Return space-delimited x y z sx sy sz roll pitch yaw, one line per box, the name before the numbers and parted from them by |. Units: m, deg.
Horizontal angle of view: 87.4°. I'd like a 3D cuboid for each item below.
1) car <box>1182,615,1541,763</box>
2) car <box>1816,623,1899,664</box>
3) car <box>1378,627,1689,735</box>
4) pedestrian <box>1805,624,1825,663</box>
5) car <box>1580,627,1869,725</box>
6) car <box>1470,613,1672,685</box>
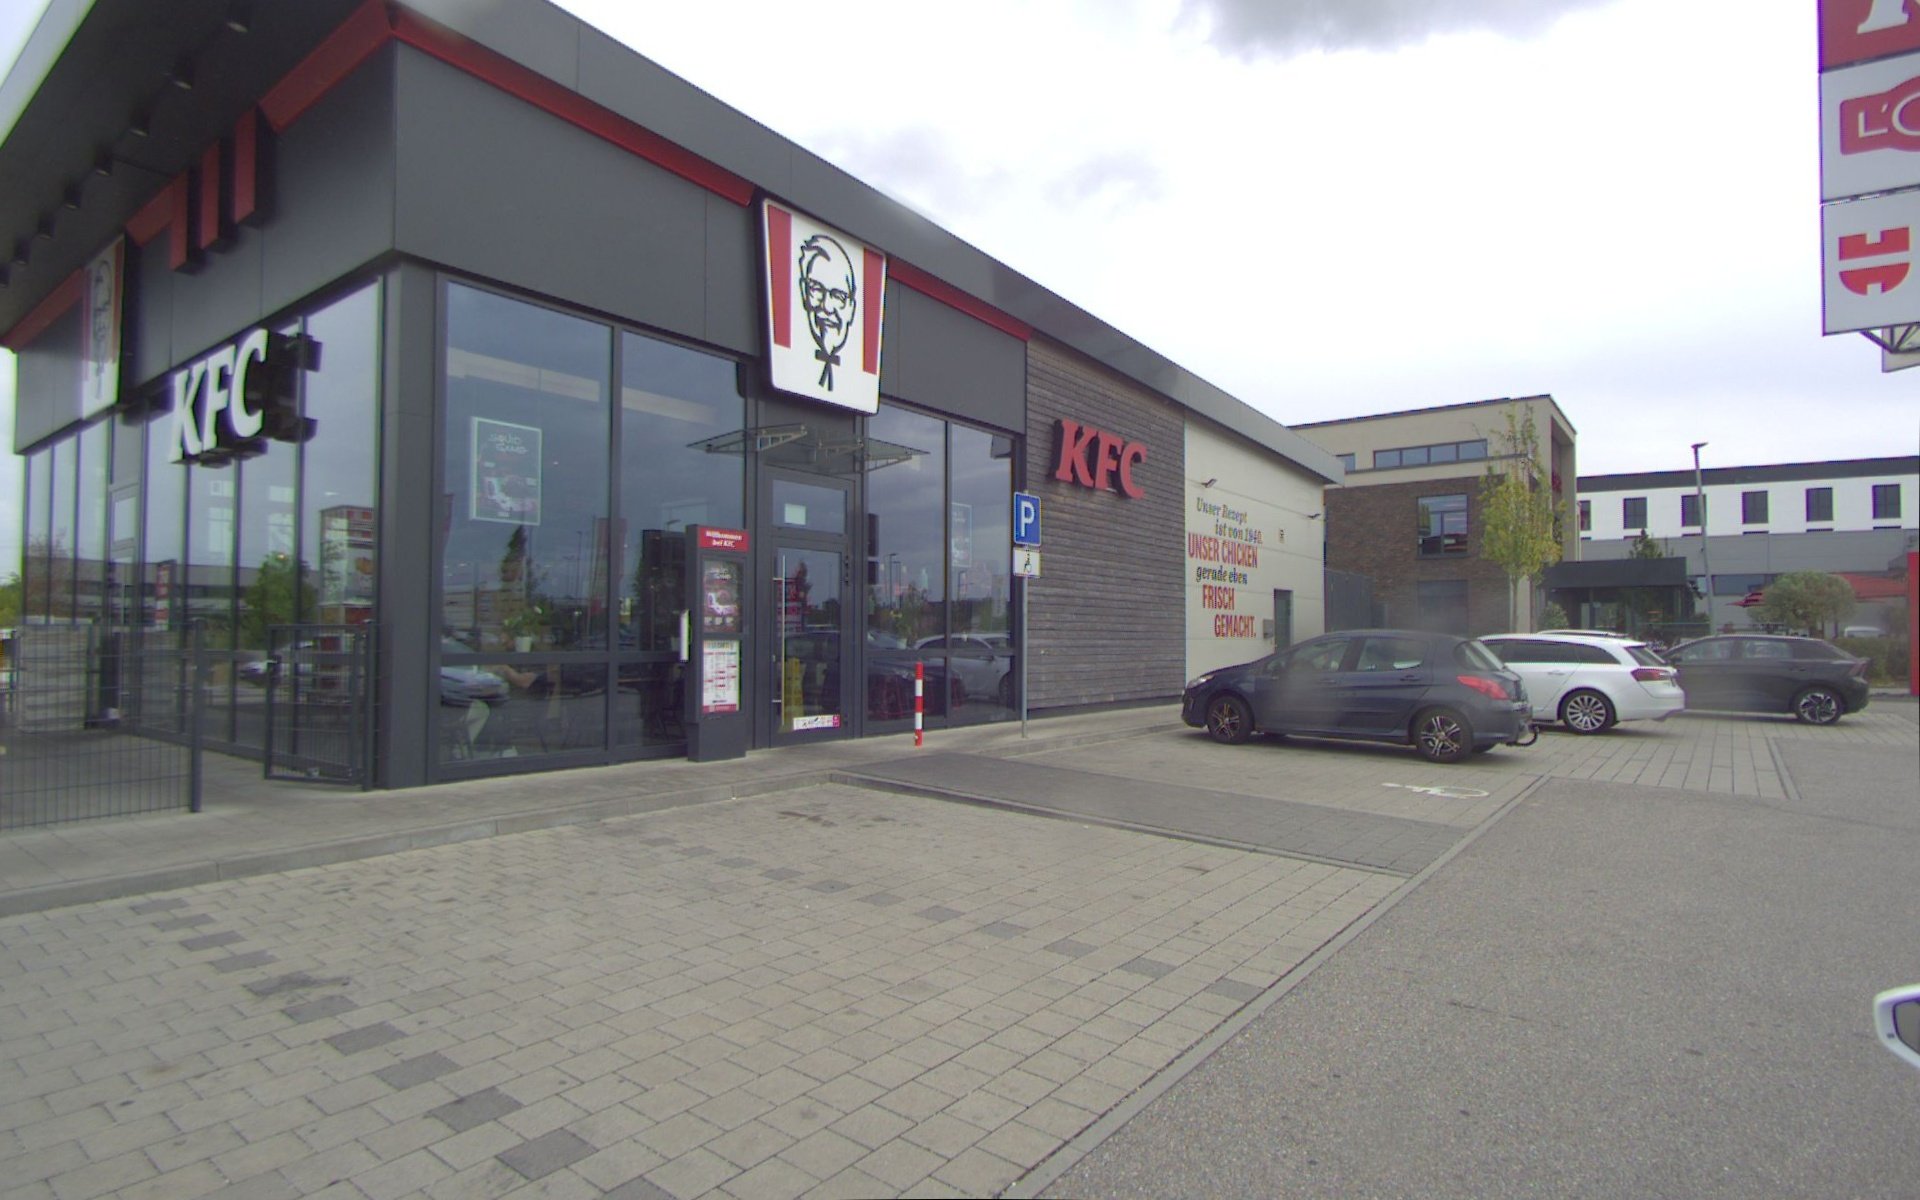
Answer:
car | 4.985 0.993 12.713 3.880 1.507 1.751 1 0 40
car | 39.792 1.944 44.636 1.966 1.672 4.566 -3 -3 33
car | 9.208 1.210 16.274 4.116 1.505 1.991 -1 -1 40
pedestrian | 27.398 1.394 32.181 0.415 1.215 0.454 -3 -4 43
car | 13.846 1.301 18.418 4.060 1.548 1.734 0 -2 39
car | 14.565 1.203 24.218 3.925 1.616 1.735 -2 -3 25
